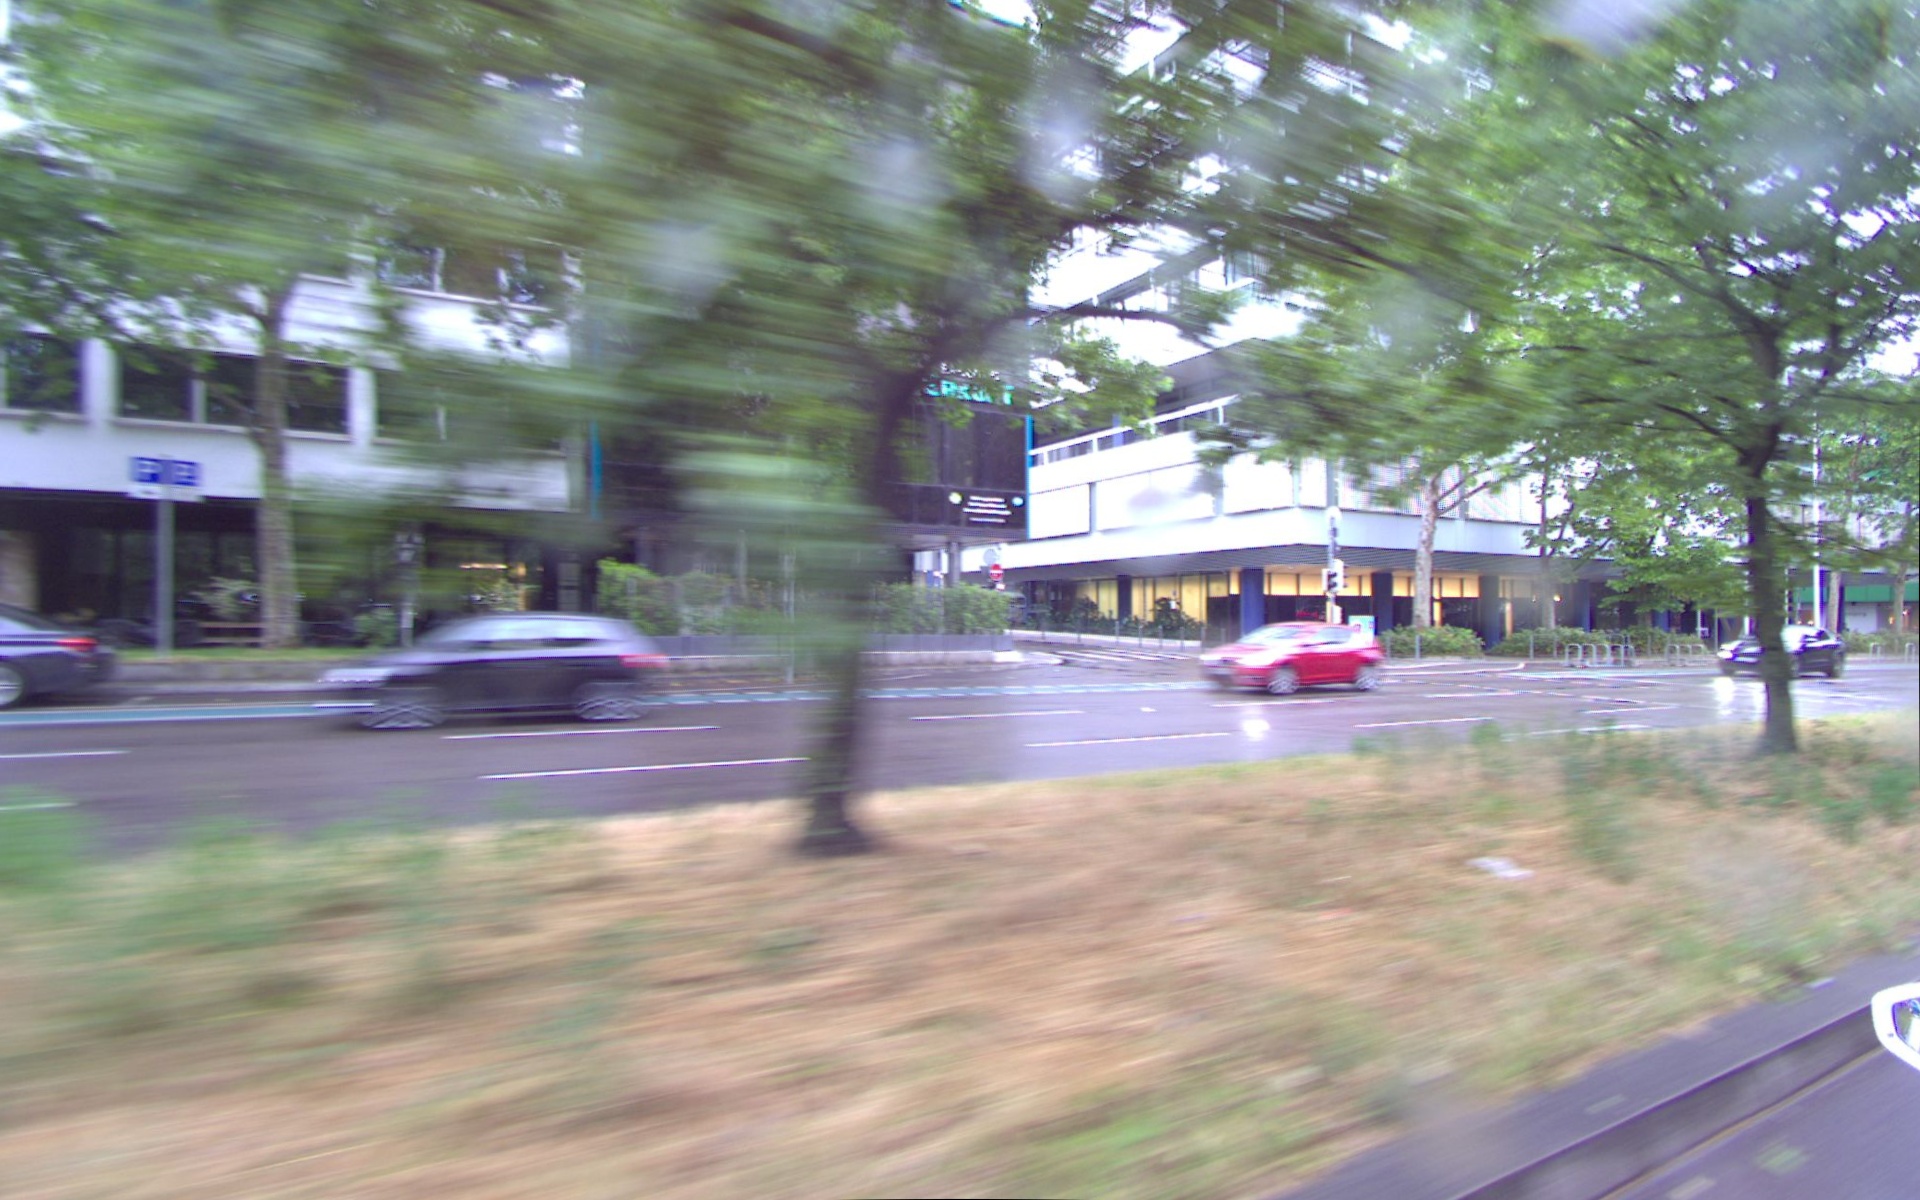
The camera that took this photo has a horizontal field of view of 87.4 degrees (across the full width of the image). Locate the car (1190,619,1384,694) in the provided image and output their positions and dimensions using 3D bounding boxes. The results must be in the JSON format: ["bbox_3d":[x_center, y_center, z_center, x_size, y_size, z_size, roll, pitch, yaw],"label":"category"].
[{"bbox_3d":[6.959,1.128,21.253,4.136,1.412,1.606,0,0,-31],"label":"car"}]

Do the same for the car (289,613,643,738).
[{"bbox_3d":[-6.415,0.881,13.258,3.954,1.408,1.834,0,0,-31],"label":"car"}]

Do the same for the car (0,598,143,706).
[{"bbox_3d":[-14.181,0.681,13.388,4.842,1.428,1.686,0,0,-28],"label":"car"}]

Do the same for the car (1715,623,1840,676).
[{"bbox_3d":[26.095,1.533,32.046,4.141,1.572,1.821,1,-1,-31],"label":"car"}]
